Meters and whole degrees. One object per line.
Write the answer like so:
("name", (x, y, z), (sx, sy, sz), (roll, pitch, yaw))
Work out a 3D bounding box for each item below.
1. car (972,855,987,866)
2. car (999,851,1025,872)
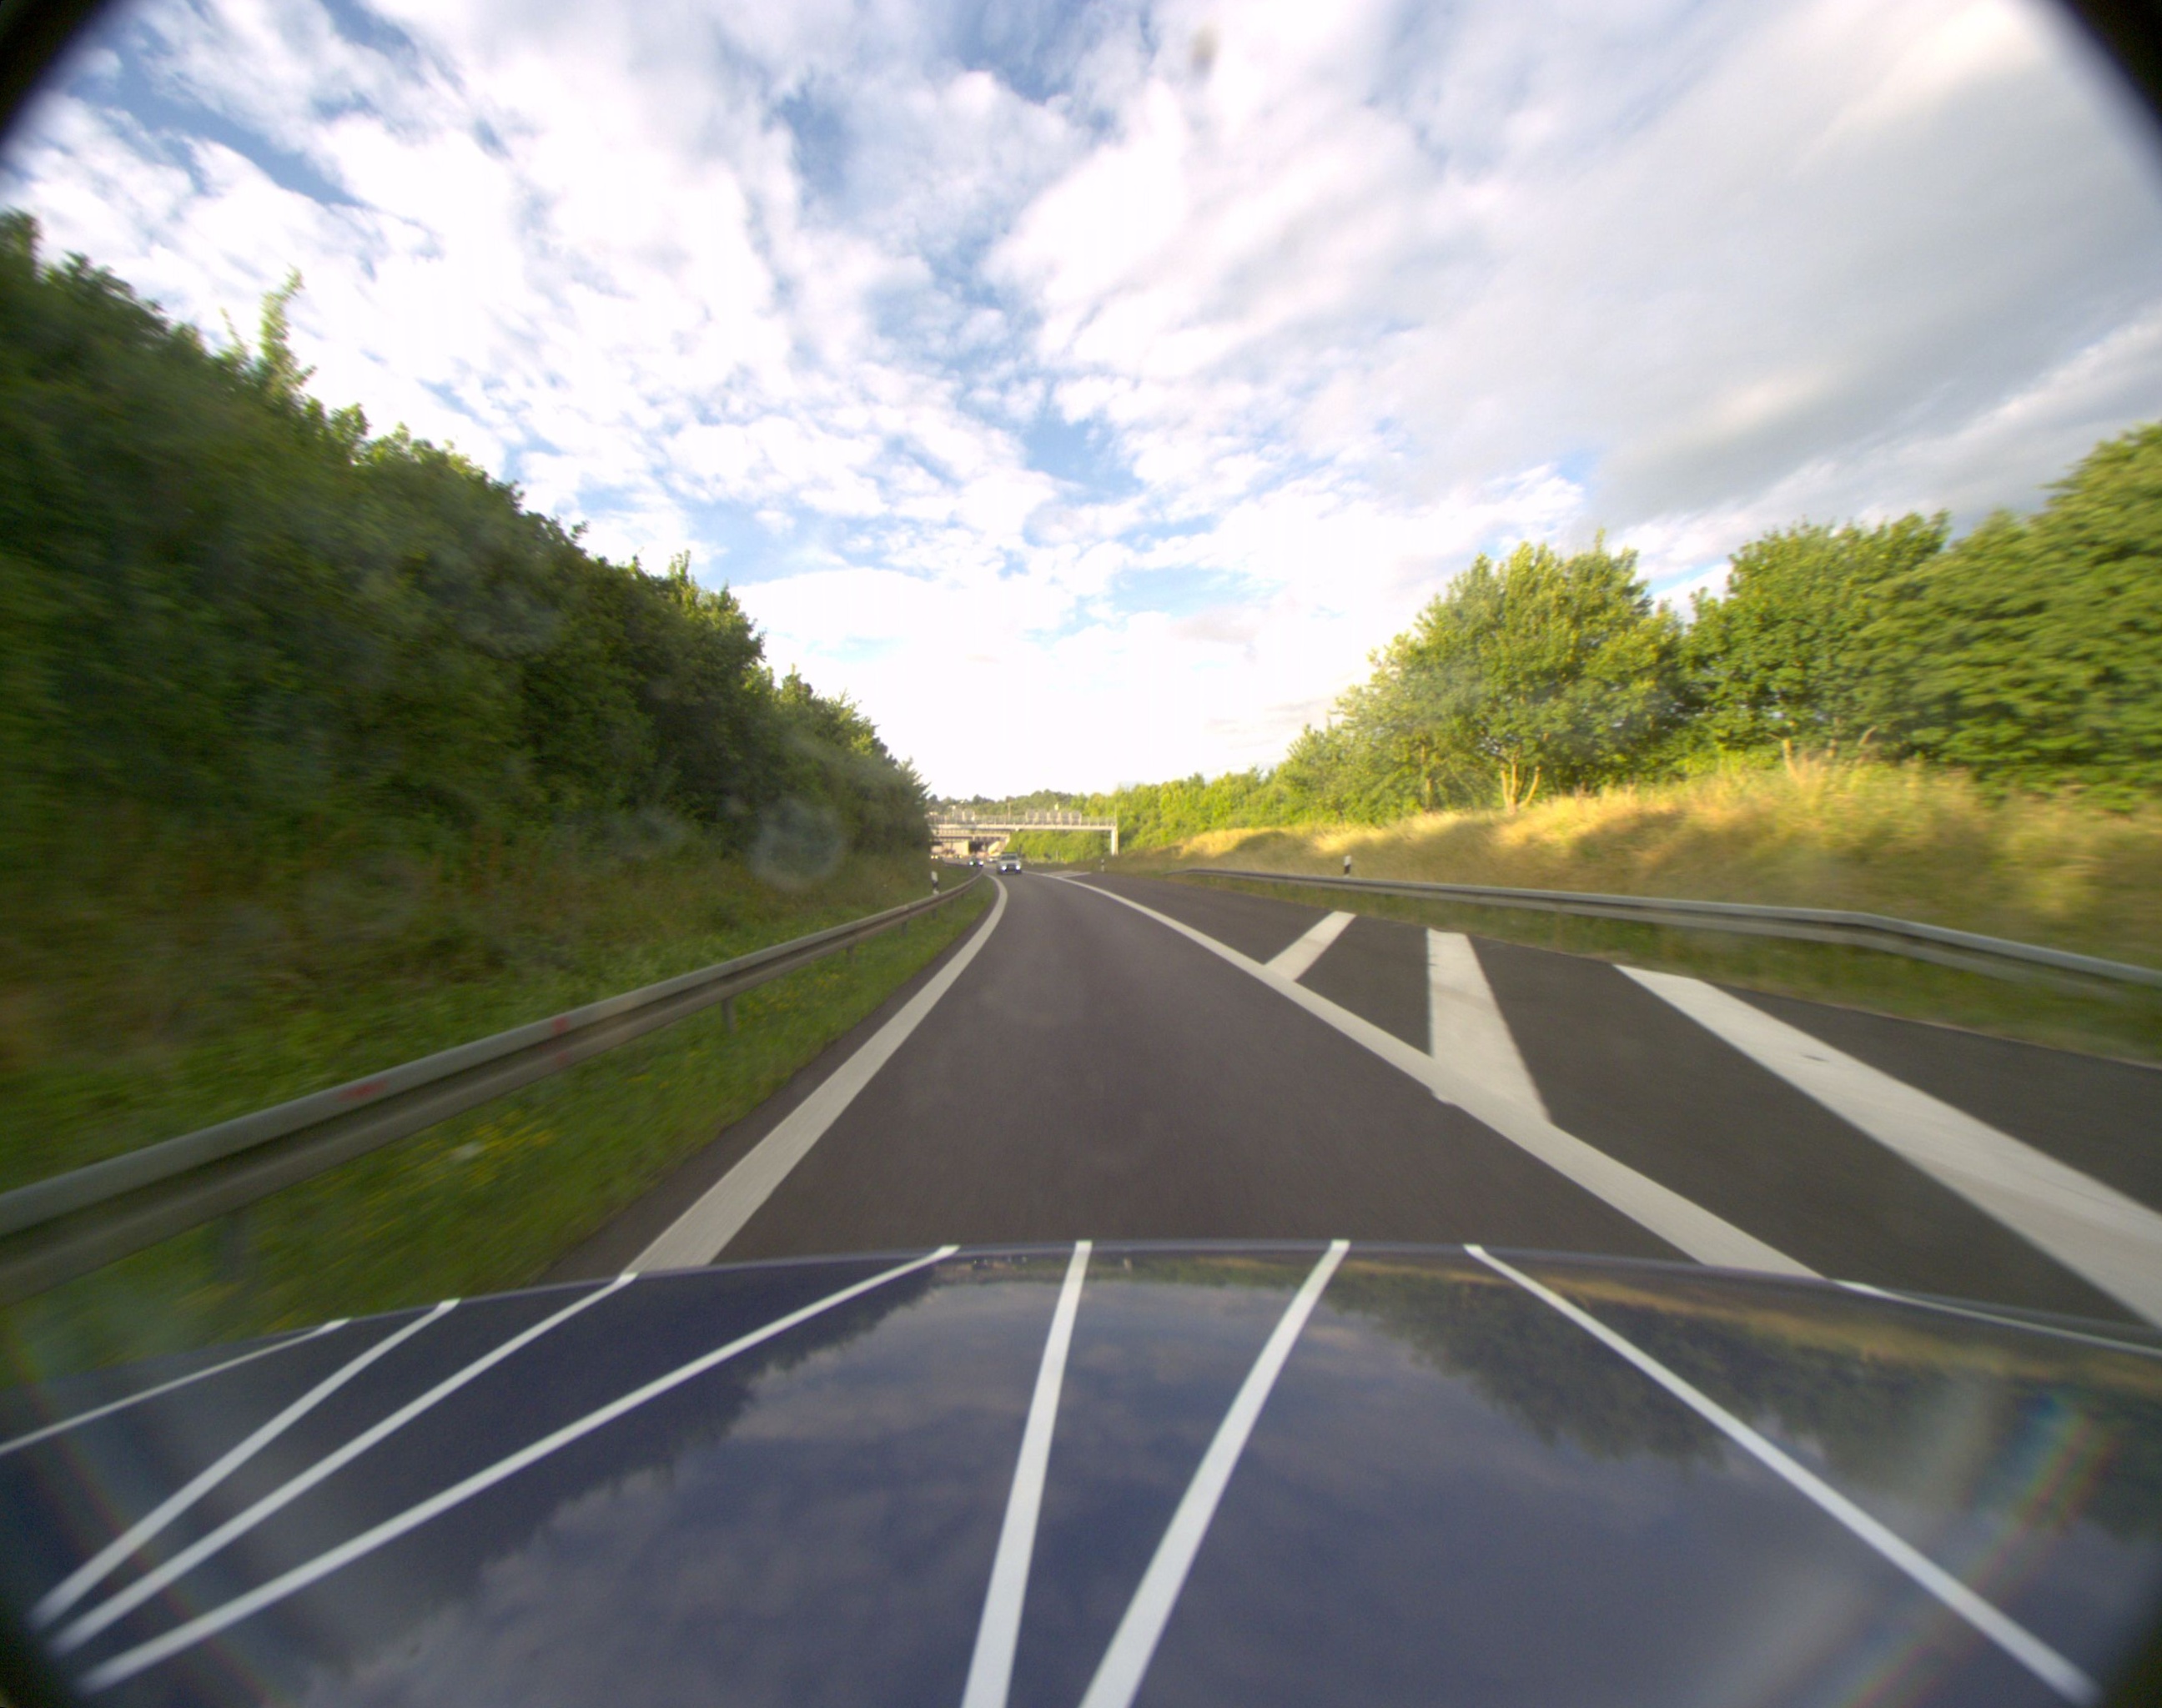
("car", (-13.851, 0.837, 103.449), (1.621, 1.451, 3.659), (-2, 0, -12))
("car", (-6.025, 0.630, 66.263), (1.906, 1.655, 3.996), (-1, 1, -9))
